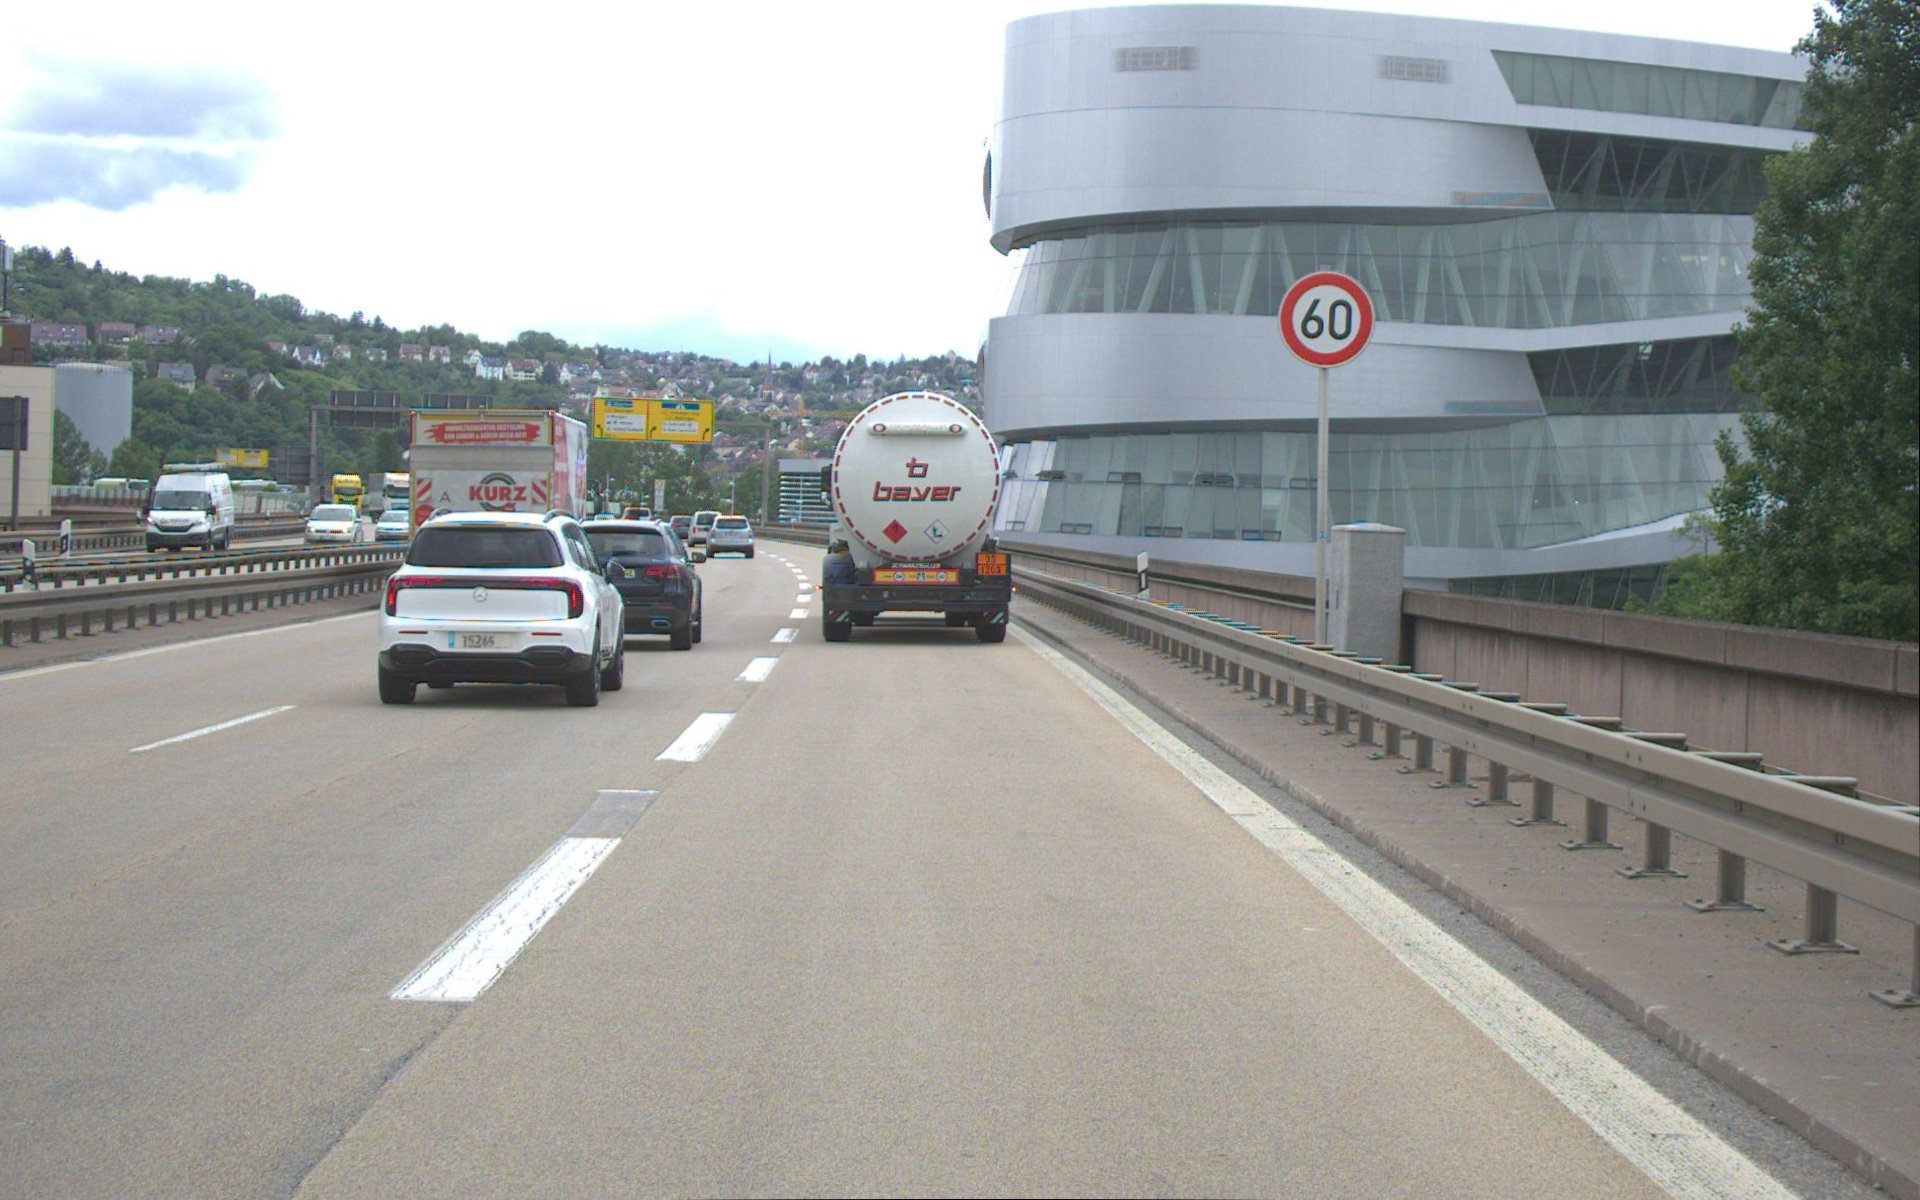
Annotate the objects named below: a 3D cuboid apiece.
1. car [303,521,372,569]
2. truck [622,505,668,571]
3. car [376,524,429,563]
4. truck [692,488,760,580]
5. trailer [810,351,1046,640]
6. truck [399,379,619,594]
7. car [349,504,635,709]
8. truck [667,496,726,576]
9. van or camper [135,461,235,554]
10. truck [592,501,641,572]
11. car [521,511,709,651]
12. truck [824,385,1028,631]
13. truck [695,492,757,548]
[{"bbox_3d":[-22.185,-1.956,122.634,1.683,1.644,4.313,2,1,-1],"label":"car"},{"bbox_3d":[-22.464,-4.400,244.755,3.056,4.546,8.305,1,1,-6],"label":"truck"},{"bbox_3d":[-24.677,-2.495,152.311,1.683,1.644,4.448,2,1,-1],"label":"car"},{"bbox_3d":[-12.040,-3.348,176.137,3.056,4.546,8.305,1,1,-6],"label":"truck"},{"bbox_3d":[-0.475,-1.439,49.518,3.057,3.777,8.304,1,1,-1],"label":"trailer"},{"bbox_3d":[-8.237,-2.032,63.811,3.057,3.678,8.304,1,1,-1],"label":"truck"},{"bbox_3d":[-4.101,0.026,30.812,1.993,1.669,4.408,1,1,-1],"label":"car"},{"bbox_3d":[-15.410,-3.716,200.519,3.056,4.546,8.305,1,1,-6],"label":"truck"},{"bbox_3d":[-25.961,-3.094,115.447,2.171,2.998,7.119,1,1,-4],"label":"van or camper"},{"bbox_3d":[-22.747,-4.190,227.604,3.056,4.546,8.305,1,1,-6],"label":"truck"},{"bbox_3d":[-4.363,-0.260,44.037,1.993,1.669,4.408,1,1,-1],"label":"car"},{"bbox_3d":[-0.590,-1.422,54.787,3.014,3.644,6.274,1,1,-1],"label":"truck"},{"bbox_3d":[-9.285,-3.172,136.726,2.255,2.156,5.069,1,1,-2],"label":"truck"}]
